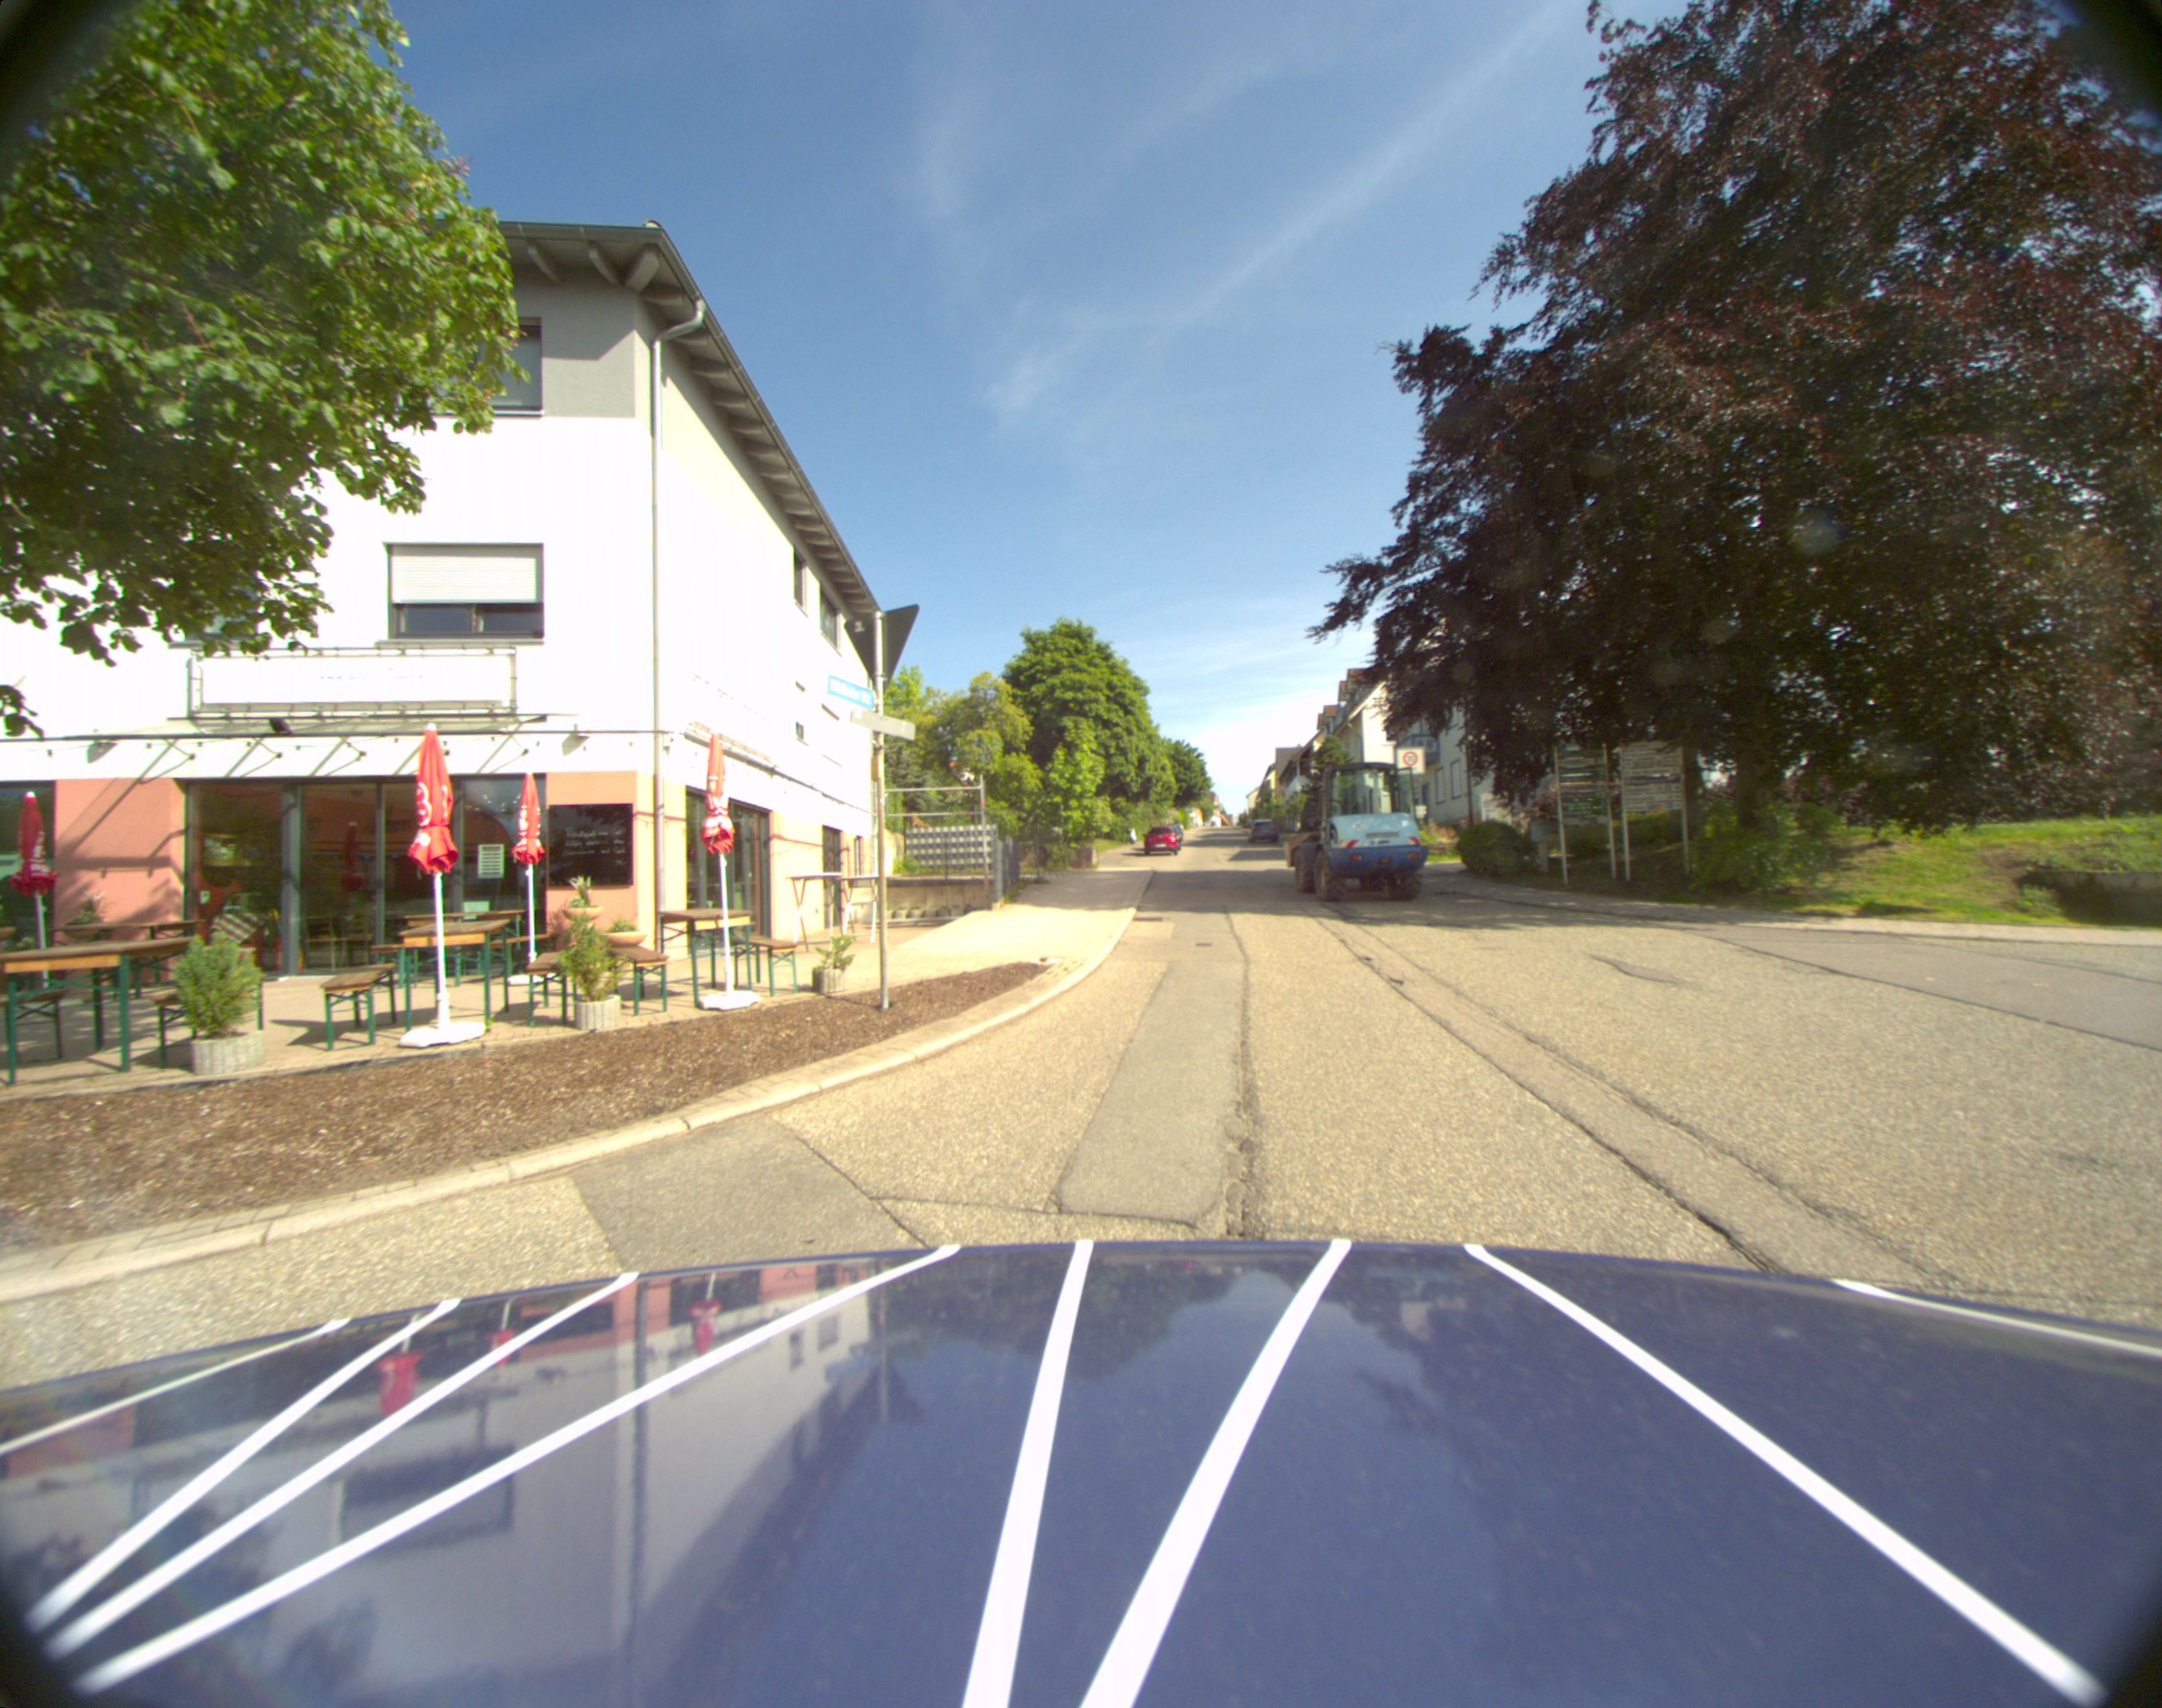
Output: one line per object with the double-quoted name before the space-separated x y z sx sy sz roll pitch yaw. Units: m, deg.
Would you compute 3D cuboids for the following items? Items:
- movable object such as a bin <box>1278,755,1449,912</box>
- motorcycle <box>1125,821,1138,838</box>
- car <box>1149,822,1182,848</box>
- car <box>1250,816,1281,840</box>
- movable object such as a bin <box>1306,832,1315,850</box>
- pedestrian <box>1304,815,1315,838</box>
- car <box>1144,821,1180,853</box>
"movable object such as a bin" 5.680 -0.467 16.062 1.998 2.754 5.104 -1 3 4
"motorcycle" 3.677 -1.764 54.939 0.784 1.175 2.188 -1 3 7
"car" 5.053 -1.159 45.185 1.773 1.462 3.811 -1 3 9
"car" 13.221 -1.899 54.639 1.806 1.593 3.811 -1 3 9
"movable object such as a bin" 10.773 -0.619 35.666 0.350 0.859 0.396 -1 3 9
"pedestrian" 16.134 -1.957 53.725 0.667 1.567 0.780 -1 3 9
"car" 4.260 -0.918 39.595 1.622 1.490 3.811 -1 3 9
